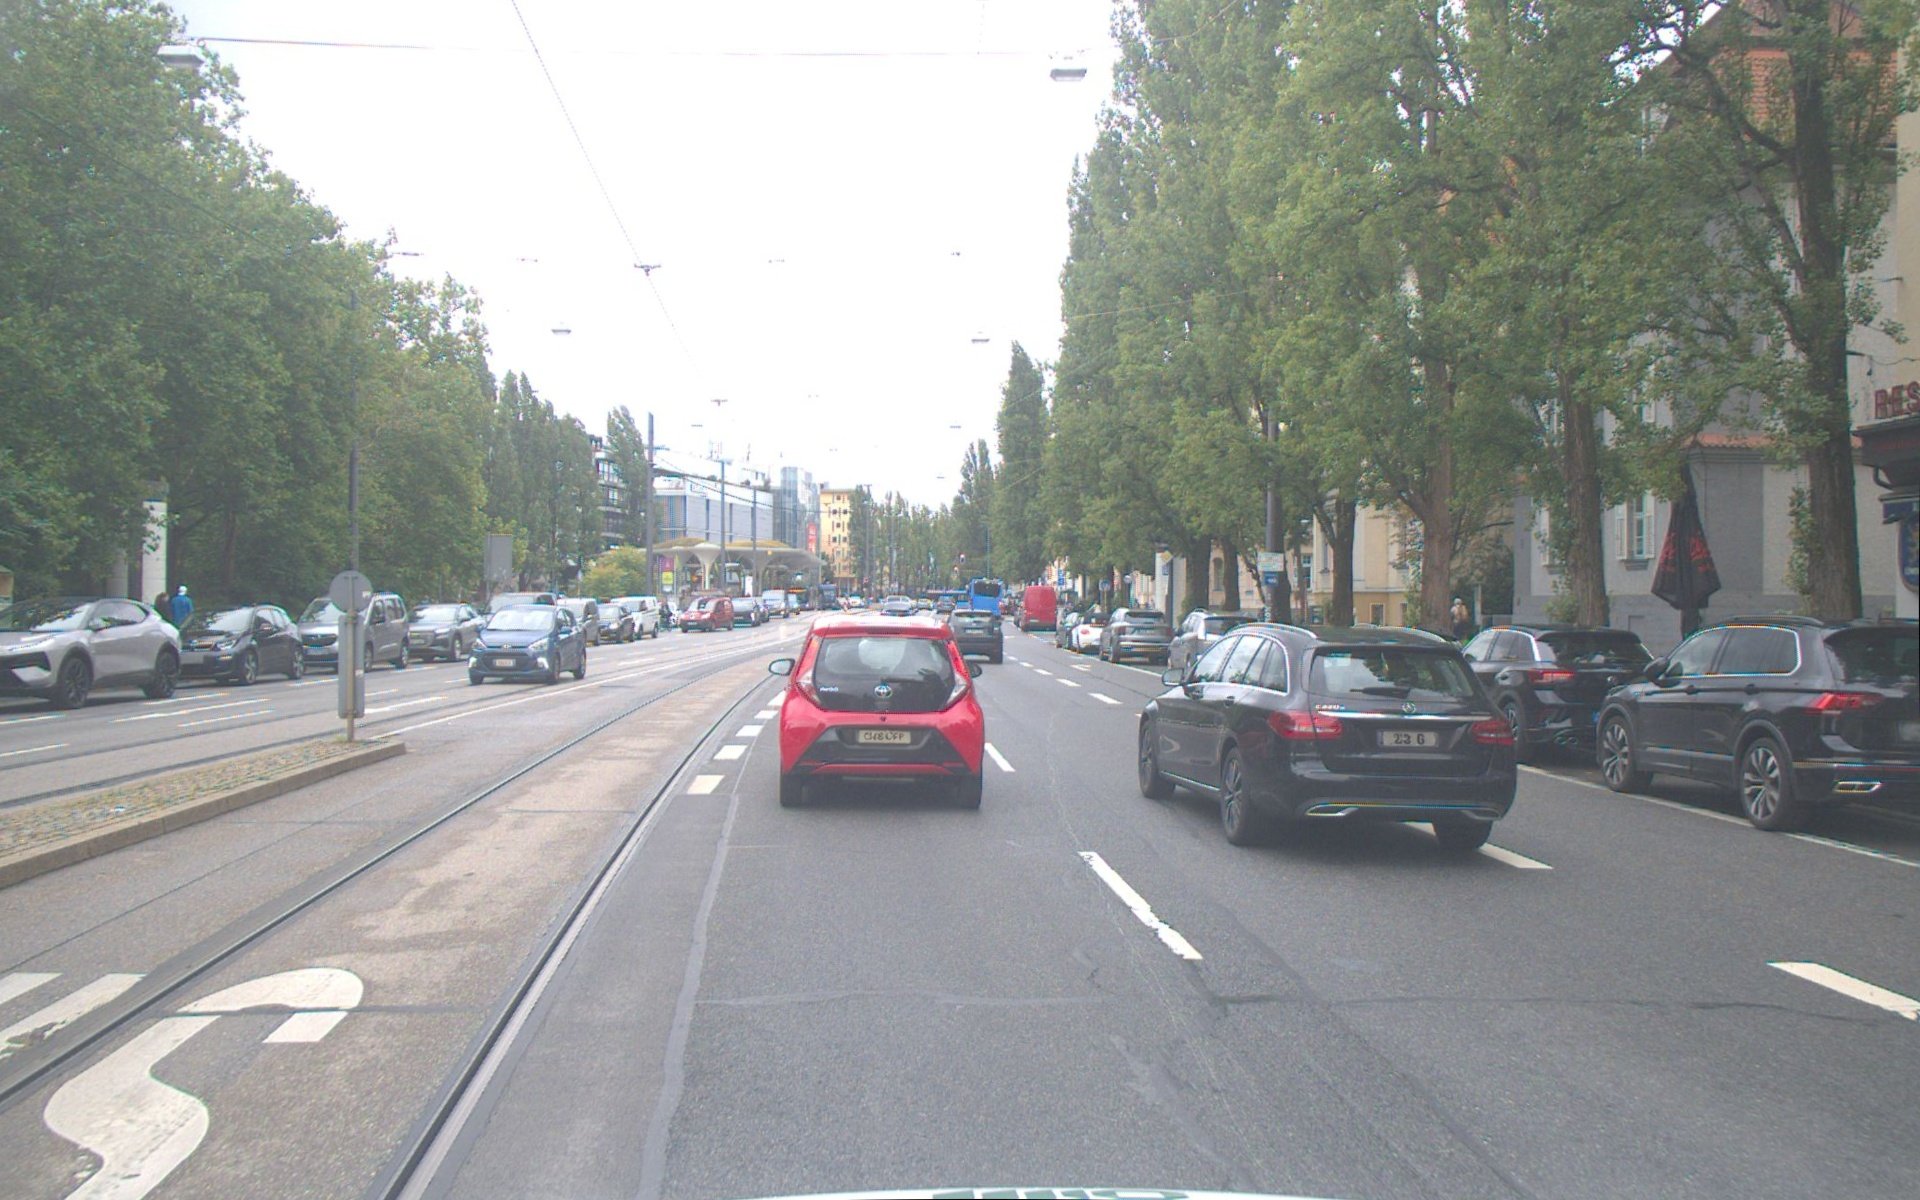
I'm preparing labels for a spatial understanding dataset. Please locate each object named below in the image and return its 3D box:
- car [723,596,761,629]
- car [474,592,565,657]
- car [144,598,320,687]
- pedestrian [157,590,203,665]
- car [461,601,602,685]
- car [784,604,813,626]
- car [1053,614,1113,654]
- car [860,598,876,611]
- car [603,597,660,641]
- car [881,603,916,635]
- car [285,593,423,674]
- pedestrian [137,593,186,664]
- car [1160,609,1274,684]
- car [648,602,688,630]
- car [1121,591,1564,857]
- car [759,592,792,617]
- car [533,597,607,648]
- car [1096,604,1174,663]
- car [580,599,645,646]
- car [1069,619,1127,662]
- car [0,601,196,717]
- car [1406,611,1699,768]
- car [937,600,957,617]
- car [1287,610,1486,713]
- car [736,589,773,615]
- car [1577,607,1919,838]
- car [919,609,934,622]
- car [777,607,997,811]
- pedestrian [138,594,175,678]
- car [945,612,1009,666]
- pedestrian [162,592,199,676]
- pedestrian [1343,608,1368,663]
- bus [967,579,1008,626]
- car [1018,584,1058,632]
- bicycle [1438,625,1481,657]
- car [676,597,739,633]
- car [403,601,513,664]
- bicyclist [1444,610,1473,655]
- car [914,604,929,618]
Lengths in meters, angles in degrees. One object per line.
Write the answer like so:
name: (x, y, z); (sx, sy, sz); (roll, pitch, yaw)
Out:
car: (-12.634, 0.718, 96.188); (1.763, 1.820, 4.516); (-2, 0, -3)
car: (-14.426, 0.782, 54.429); (1.763, 2.026, 5.037); (0, 0, -1)
car: (-14.761, 0.822, 33.811); (1.763, 1.696, 4.353); (0, 0, -1)
pedestrian: (-19.256, 0.666, 40.868); (0.650, 1.821, 0.819); (1, -1, 7)
car: (-8.482, 0.832, 33.080); (1.763, 1.549, 4.353); (-1, -1, -1)
car: (-12.696, 1.172, 130.305); (1.762, 1.694, 4.519); (-2, 0, 1)
car: (4.978, 1.377, 67.485); (1.764, 1.534, 4.446); (0, 0, -4)
car: (-10.584, 0.499, 190.964); (1.745, 1.512, 3.999); (0, 0, -1)
car: (-15.049, 0.853, 75.918); (1.763, 1.894, 4.629); (-2, 0, -2)
car: (-3.074, 0.942, 83.261); (1.701, 1.576, 4.575); (0, 0, -2)
car: (-14.415, 0.769, 39.600); (1.763, 1.811, 4.471); (0, 0, -1)
pedestrian: (-19.844, 0.700, 41.111); (0.650, 1.713, 0.989); (1, 1, 7)
car: (5.892, 1.024, 38.421); (1.763, 1.640, 4.544); (0, 0, -3)
car: (-17.050, 0.914, 96.654); (1.764, 1.557, 4.515); (-2, 0, -4)
car: (2.575, 0.736, 12.423); (1.827, 1.576, 4.697); (0, 1, -6)
car: (-12.935, 0.320, 116.139); (1.763, 1.694, 4.518); (-2, 0, -1)
car: (-14.671, 0.827, 62.460); (1.763, 1.820, 4.517); (-2, 0, -1)
car: (5.435, 1.003, 51.950); (1.763, 1.773, 4.698); (0, 0, -3)
car: (-14.391, 0.917, 68.699); (1.763, 1.820, 4.517); (-2, 0, -1)
car: (5.146, 1.487, 62.104); (1.763, 1.534, 3.999); (0, 0, -1)
car: (-14.140, 0.865, 26.283); (1.763, 1.671, 4.998); (0, 0, -1)
car: (6.830, 0.954, 19.579); (1.763, 1.640, 4.303); (0, 0, -3)
car: (-1.235, 0.773, 155.101); (1.745, 1.512, 3.999); (0, 0, -1)
car: (6.445, 0.881, 25.480); (1.763, 1.423, 4.379); (0, 0, -3)
car: (-13.011, 0.134, 104.830); (1.762, 1.557, 4.518); (-2, 0, 0)
car: (7.003, 0.882, 14.057); (1.687, 1.640, 4.468); (0, 0, -3)
car: (-4.541, 2.087, 225.839); (1.767, 1.624, 4.000); (1, -3, 2)
car: (-0.650, 0.822, 13.969); (1.596, 1.465, 3.374); (1, 0, -4)
pedestrian: (-19.842, 0.881, 40.846); (0.575, 2.049, 0.677); (0, 0, -1)
car: (0.457, 1.126, 48.995); (1.745, 1.512, 3.999); (0, 0, -1)
pedestrian: (-19.242, 0.827, 40.845); (0.575, 2.049, 0.677); (0, 0, -1)
pedestrian: (13.084, 1.169, 54.754); (0.579, 1.769, 0.824); (1, 1, -2)
bus: (2.166, 0.153, 134.287); (2.847, 3.455, 10.804); (1, 2, -1)
car: (4.557, 0.439, 97.012); (1.953, 2.619, 4.679); (1, 2, -1)
bicycle: (15.096, 1.234, 50.064); (0.639, 0.939, 1.902); (0, 0, -3)
car: (-13.306, 0.774, 87.330); (1.761, 1.820, 4.523); (-2, 0, 12)
car: (-14.002, 0.881, 46.370); (1.763, 1.663, 4.587); (0, 0, -1)
bicyclist: (15.097, 0.977, 50.075); (0.647, 1.337, 0.705); (0, 0, -3)
car: (-5.076, 1.450, 218.587); (1.767, 1.624, 4.000); (1, -3, 2)
